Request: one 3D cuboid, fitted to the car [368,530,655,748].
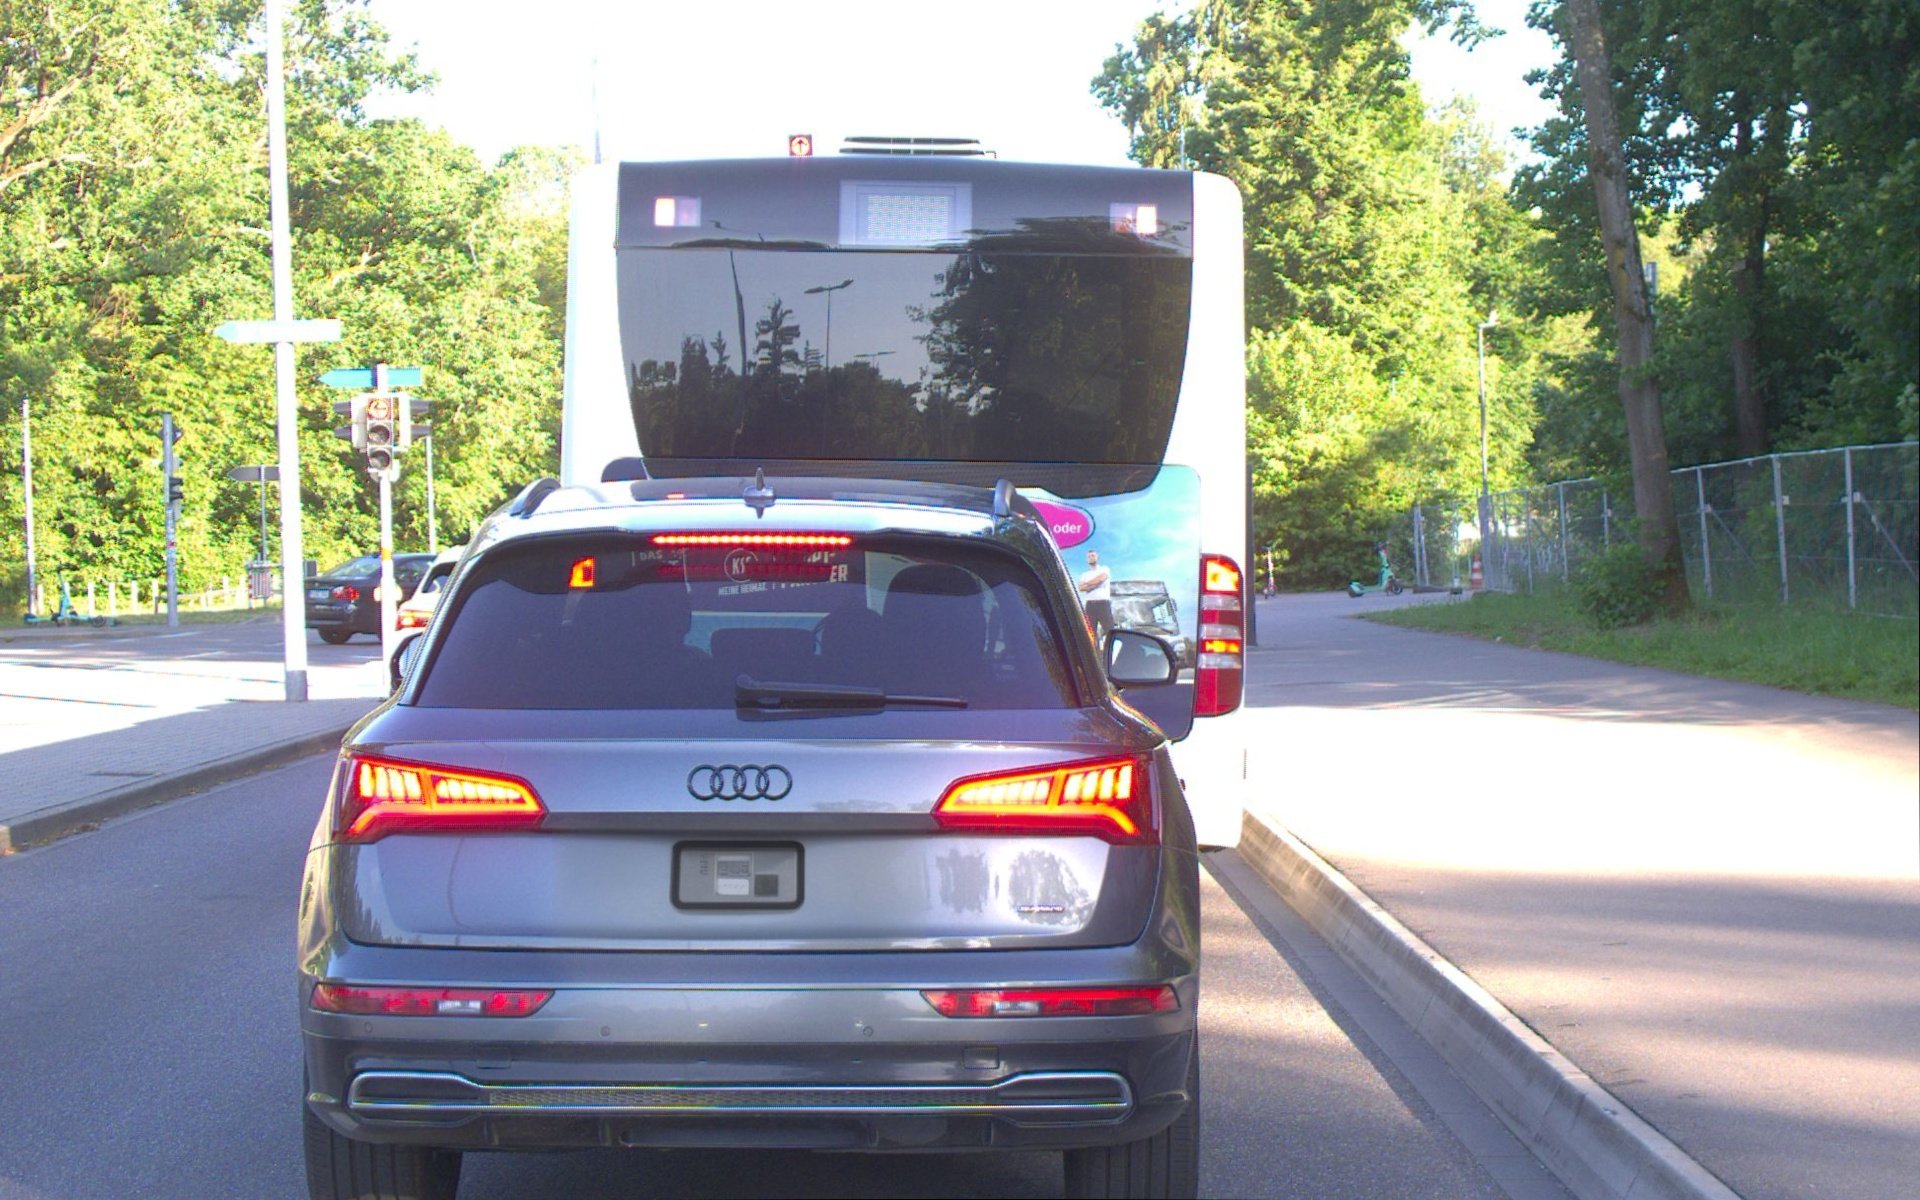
[{"bbox_3d":[-3.505,0.250,27.515,1.808,1.567,4.000,1,2,-1],"label":"car"}]

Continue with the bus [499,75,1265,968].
[{"bbox_3d":[-0.248,-0.356,15.139,2.678,3.131,5.882,1,2,1],"label":"bus"}]

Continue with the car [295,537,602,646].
[{"bbox_3d":[-8.014,-0.123,53.922,4.314,1.646,2.000,0,1,-31],"label":"car"}]

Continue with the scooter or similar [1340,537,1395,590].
[{"bbox_3d":[9.243,-0.827,77.987,1.184,1.170,0.659,1,1,11],"label":"scooter or similar"}]

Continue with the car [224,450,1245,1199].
[{"bbox_3d":[-0.443,0.510,8.353,1.868,1.658,4.000,1,2,-1],"label":"car"}]
